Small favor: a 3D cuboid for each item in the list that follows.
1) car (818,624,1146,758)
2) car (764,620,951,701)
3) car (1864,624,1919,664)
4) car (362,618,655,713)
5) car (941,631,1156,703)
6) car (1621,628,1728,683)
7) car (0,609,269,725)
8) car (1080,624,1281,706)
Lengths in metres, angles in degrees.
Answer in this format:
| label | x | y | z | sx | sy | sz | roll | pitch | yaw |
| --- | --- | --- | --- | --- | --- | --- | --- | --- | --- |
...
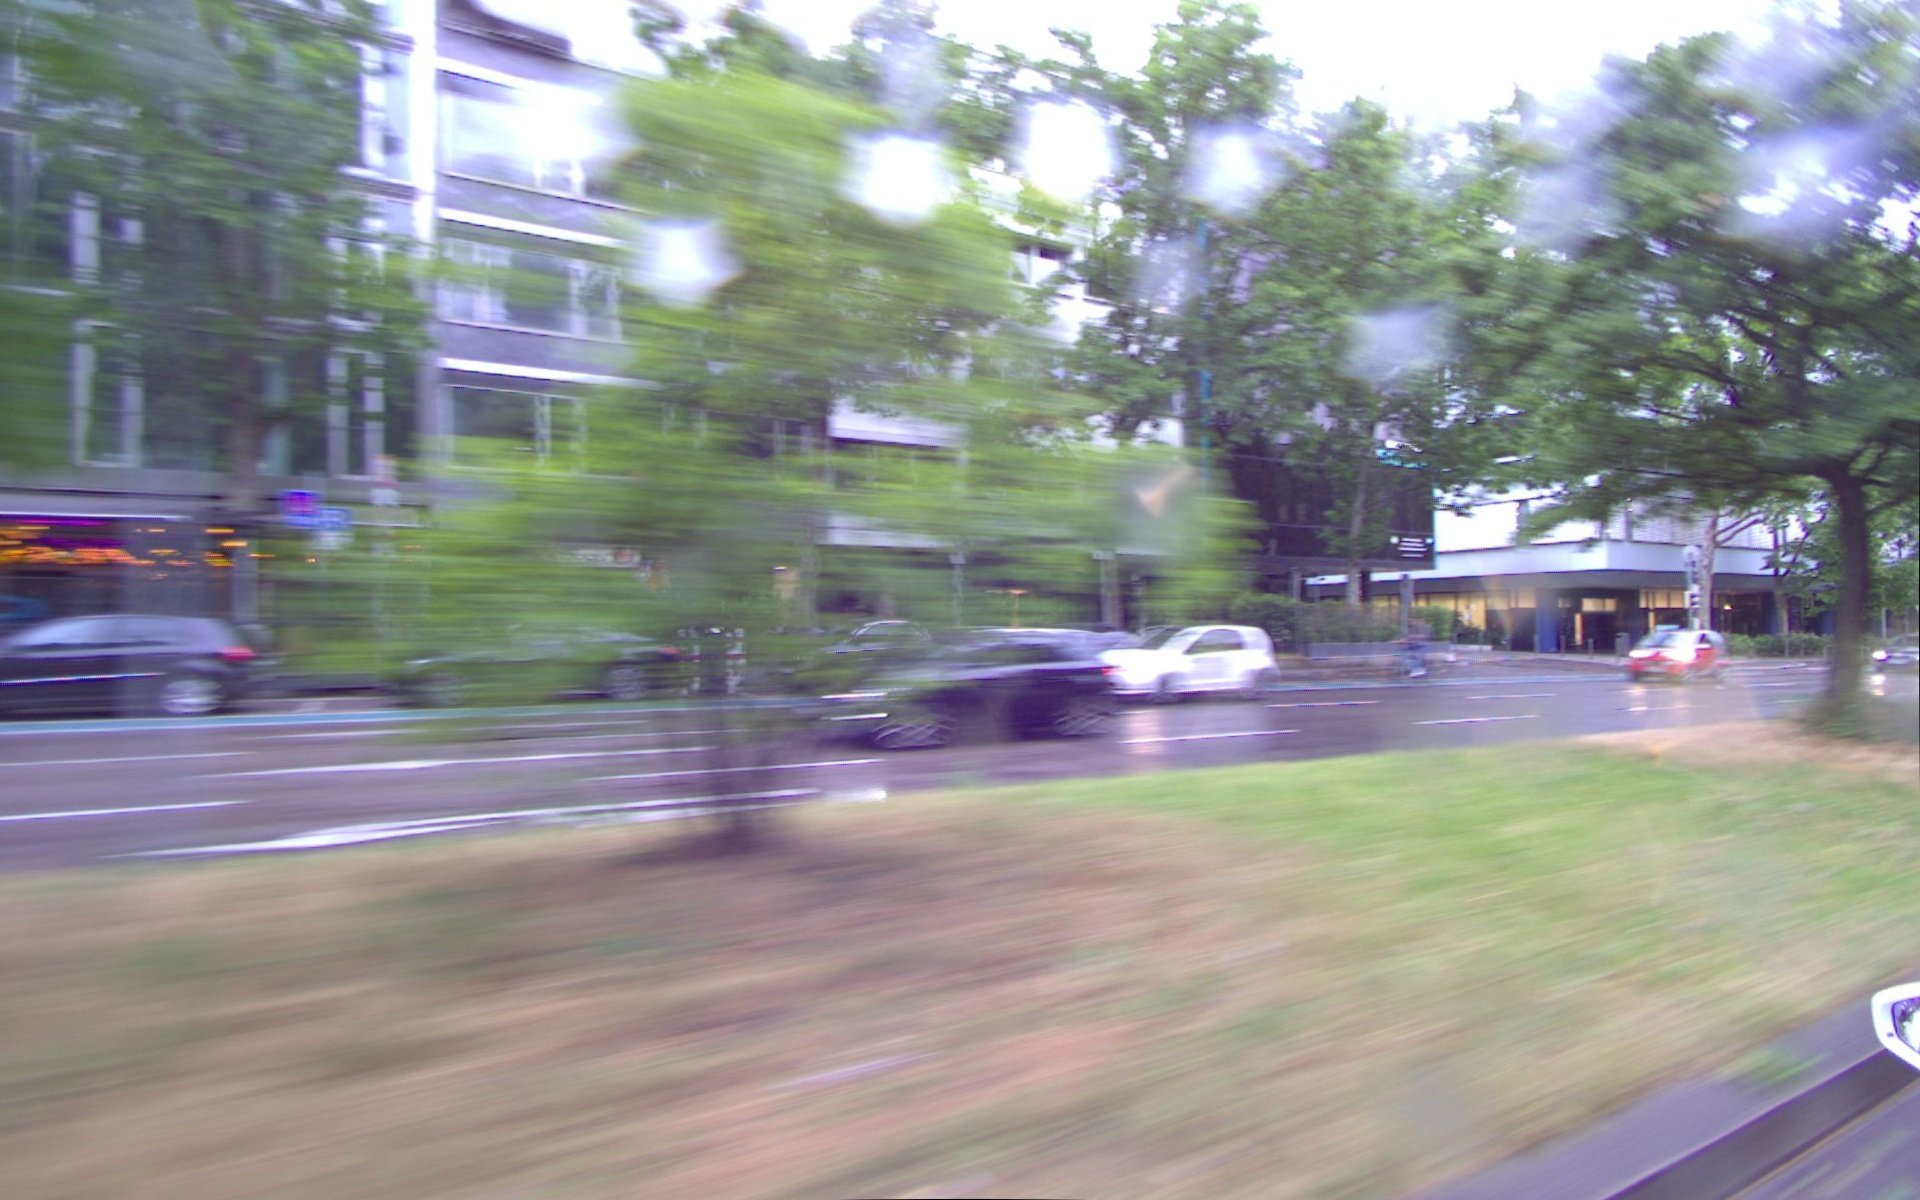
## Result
| label | x | y | z | sx | sy | sz | roll | pitch | yaw |
| --- | --- | --- | --- | --- | --- | --- | --- | --- | --- |
| car | 0.337 | 1.116 | 13.320 | 4.048 | 1.495 | 1.740 | 2 | 0 | -30 |
| car | -2.073 | 1.171 | 20.485 | 3.419 | 1.488 | 1.685 | 0 | -1 | -31 |
| car | 35.356 | 1.588 | 37.096 | 3.954 | 1.408 | 1.834 | 1 | -1 | -31 |
| car | -7.650 | 1.027 | 17.190 | 4.404 | 1.428 | 1.685 | 0 | -1 | -31 |
| car | 2.069 | 1.451 | 22.849 | 4.847 | 1.428 | 1.685 | 0 | -1 | -31 |
| car | 20.446 | 1.553 | 28.739 | 2.698 | 1.482 | 1.487 | 1 | -1 | -29 |
| car | -12.432 | 0.902 | 14.467 | 3.954 | 1.528 | 1.828 | 0 | -1 | -31 |
| car | 4.347 | 1.204 | 19.738 | 3.601 | 1.448 | 1.834 | 0 | -1 | -31 |
